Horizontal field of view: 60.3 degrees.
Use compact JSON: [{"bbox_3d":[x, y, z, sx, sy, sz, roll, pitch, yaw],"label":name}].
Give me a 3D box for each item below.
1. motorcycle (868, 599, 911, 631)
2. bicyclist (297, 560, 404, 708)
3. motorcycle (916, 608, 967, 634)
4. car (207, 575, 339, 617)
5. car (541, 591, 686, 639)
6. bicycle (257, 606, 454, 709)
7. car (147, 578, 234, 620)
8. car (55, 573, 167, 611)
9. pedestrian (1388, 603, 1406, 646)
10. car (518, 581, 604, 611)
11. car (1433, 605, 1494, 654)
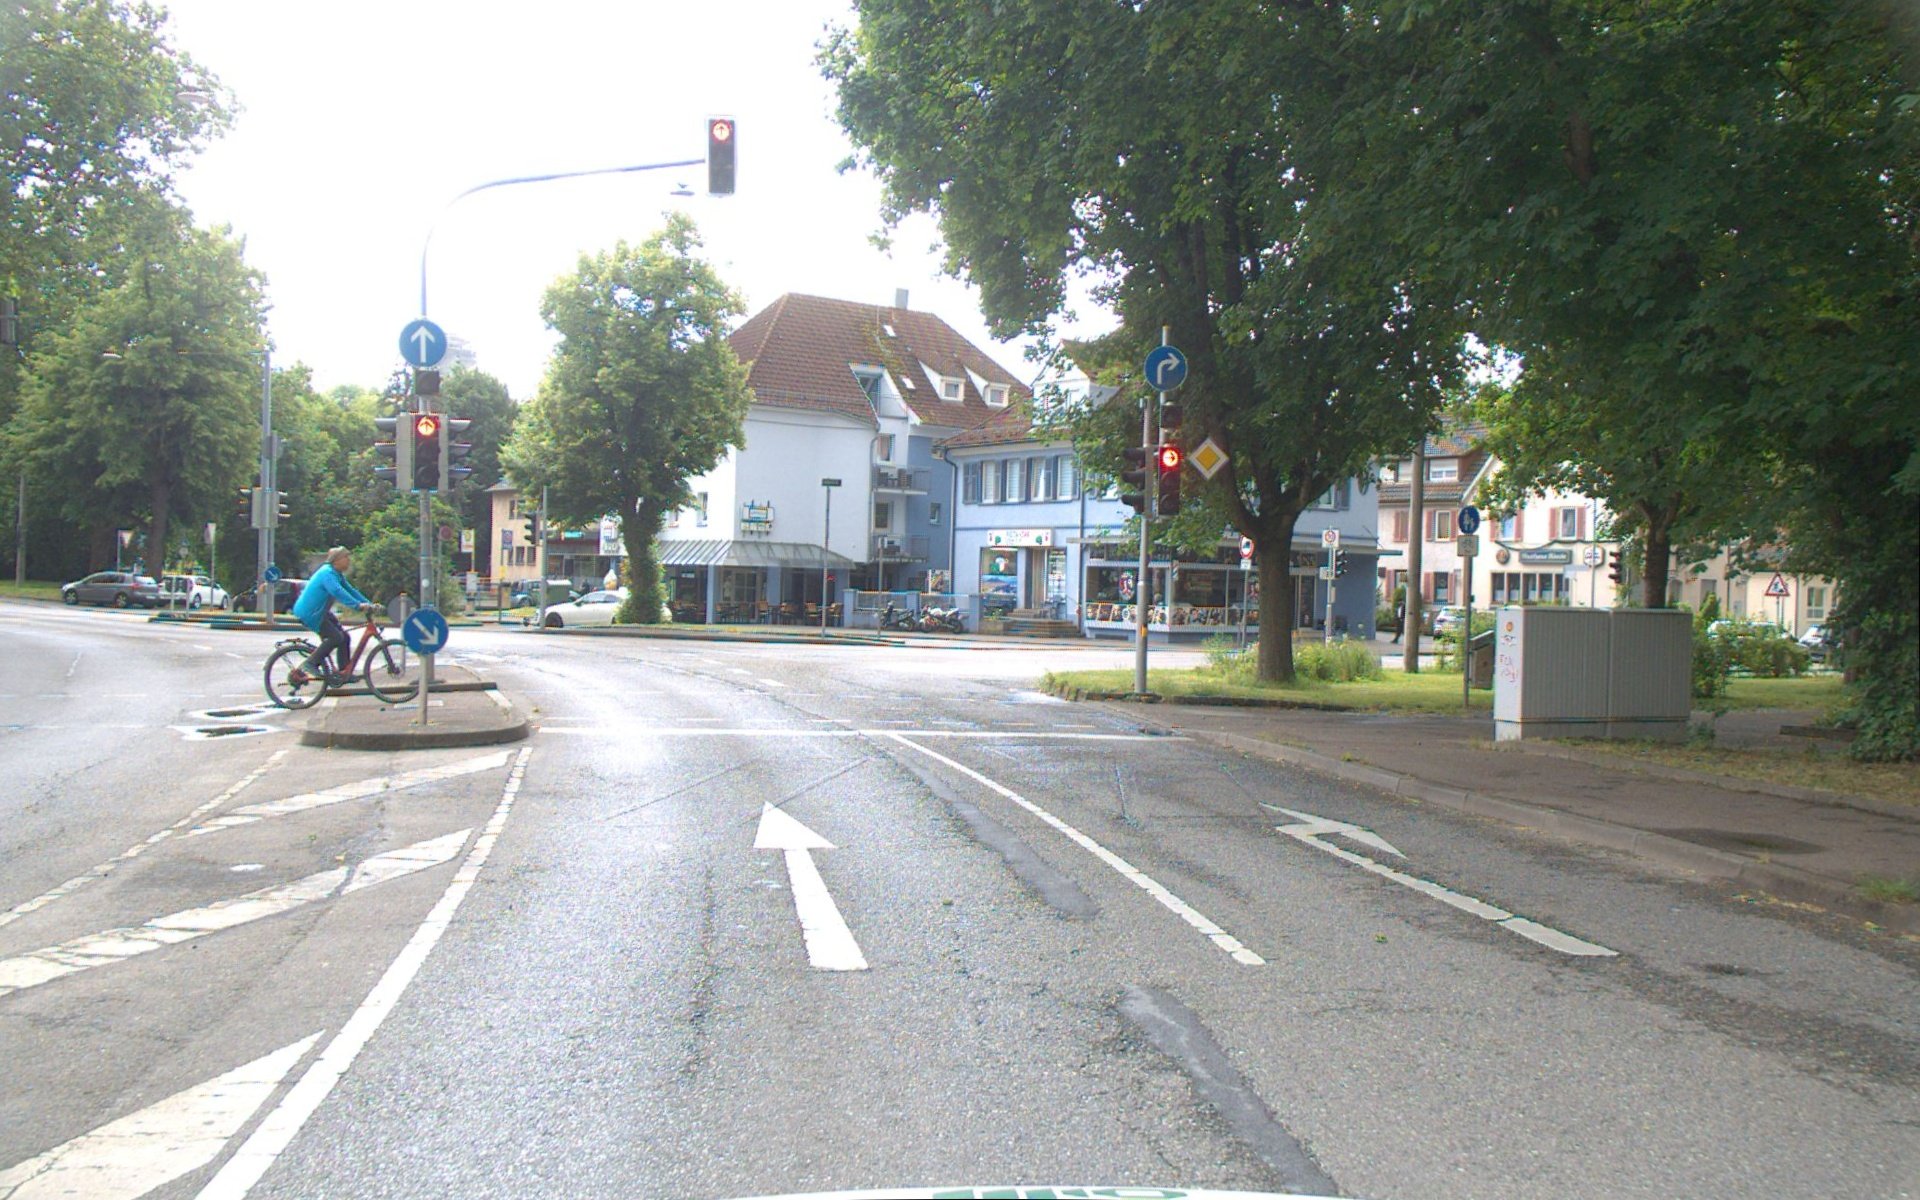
[{"bbox_3d":[-2.650,0.565,61.900,1.464,1.126,0.561,0,5,21],"label":"motorcycle"},{"bbox_3d":[-6.905,0.378,18.759,1.083,1.627,0.935,1,0,-21],"label":"bicyclist"},{"bbox_3d":[-0.685,0.761,60.555,1.800,0.862,0.560,0,5,25],"label":"motorcycle"},{"bbox_3d":[-25.750,-0.164,61.976,4.484,1.544,2.000,0,0,23],"label":"car"},{"bbox_3d":[-11.711,0.476,55.937,4.484,1.544,2.000,0,0,23],"label":"car"},{"bbox_3d":[-6.848,0.644,18.790,2.041,1.101,0.935,1,0,-22],"label":"bicycle"},{"bbox_3d":[-34.172,-0.043,73.544,1.952,1.803,4.000,0,0,1],"label":"car"},{"bbox_3d":[-35.940,-0.346,70.071,3.902,1.601,2.001,0,0,16],"label":"car"},{"bbox_3d":[16.160,0.888,61.149,0.401,1.579,0.493,0,0,-40],"label":"pedestrian"},{"bbox_3d":[-20.174,-0.199,83.633,3.947,1.512,1.741,0,0,-31],"label":"car"},{"bbox_3d":[20.461,1.164,67.130,1.819,1.898,3.558,0,0,26],"label":"car"}]
